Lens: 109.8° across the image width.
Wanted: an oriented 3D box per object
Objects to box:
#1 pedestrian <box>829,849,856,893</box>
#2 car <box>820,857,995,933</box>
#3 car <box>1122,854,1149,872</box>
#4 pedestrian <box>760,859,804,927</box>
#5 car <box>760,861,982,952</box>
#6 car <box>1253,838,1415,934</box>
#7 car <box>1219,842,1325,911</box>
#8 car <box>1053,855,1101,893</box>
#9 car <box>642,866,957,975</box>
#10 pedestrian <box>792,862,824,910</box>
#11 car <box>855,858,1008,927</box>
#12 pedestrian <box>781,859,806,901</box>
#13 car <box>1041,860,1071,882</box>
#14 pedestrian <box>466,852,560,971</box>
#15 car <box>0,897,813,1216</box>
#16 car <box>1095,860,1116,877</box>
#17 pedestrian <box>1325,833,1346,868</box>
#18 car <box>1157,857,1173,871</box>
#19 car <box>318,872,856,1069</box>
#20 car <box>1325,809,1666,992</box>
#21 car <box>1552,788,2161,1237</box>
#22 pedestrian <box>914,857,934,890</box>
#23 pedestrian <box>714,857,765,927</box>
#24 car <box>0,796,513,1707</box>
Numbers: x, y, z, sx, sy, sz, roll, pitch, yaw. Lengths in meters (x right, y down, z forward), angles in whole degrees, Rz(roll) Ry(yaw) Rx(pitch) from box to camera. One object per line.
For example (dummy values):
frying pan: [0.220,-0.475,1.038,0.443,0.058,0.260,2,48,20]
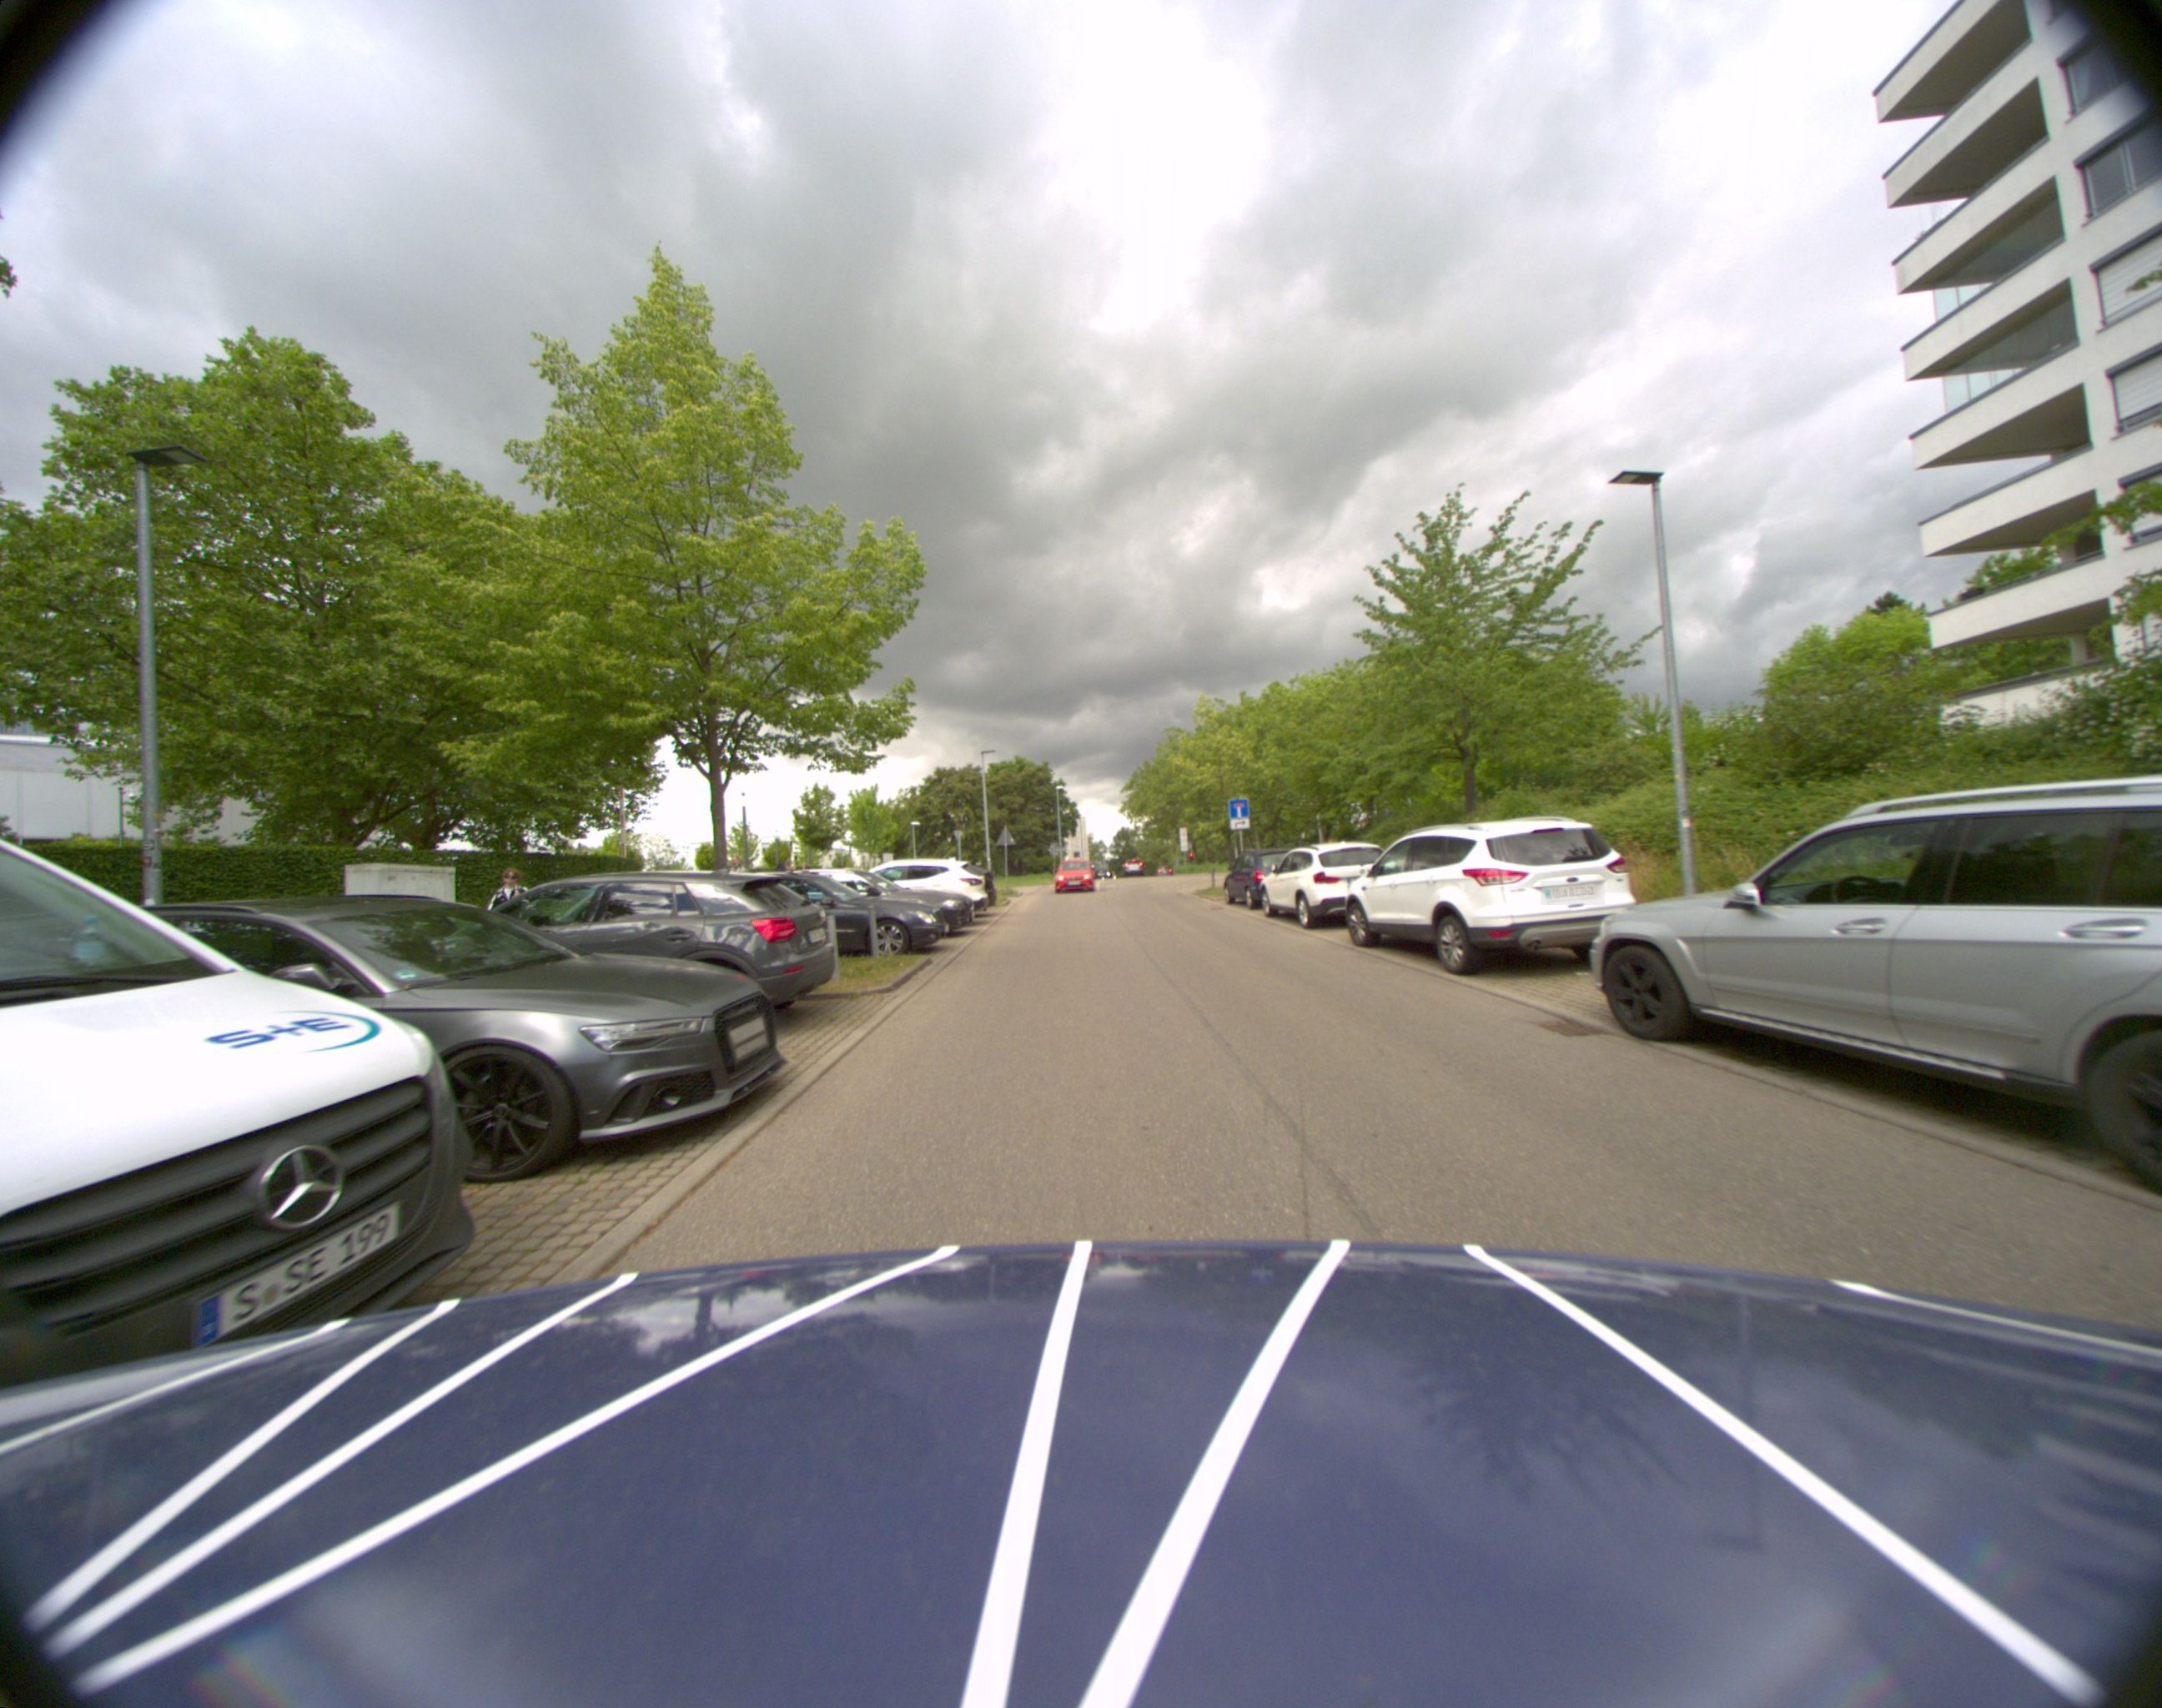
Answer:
pedestrian: [-8.214,0.594,26.201,0.620,1.460,0.736,-3,0,0]
car: [-4.049,0.939,18.149,3.679,1.637,1.852,-1,0,2]
car: [5.013,0.820,70.567,1.902,1.573,4.166,2,-1,-4]
pedestrian: [-8.163,1.043,20.793,0.741,1.782,0.878,-3,0,0]
car: [-4.201,1.027,15.726,3.997,1.510,1.883,-3,1,-1]
car: [4.863,0.575,15.286,1.694,1.502,4.230,-6,-1,0]
car: [4.906,0.550,20.088,1.694,1.478,3.953,-6,-1,0]
car: [-0.120,0.856,34.250,1.758,1.506,4.002,-3,-1,5]
car: [-4.555,1.050,12.915,4.587,1.483,1.951,-2,0,-3]
pedestrian: [-9.435,1.093,26.295,0.689,1.611,0.932,-3,0,-1]
car: [-3.913,0.997,20.319,3.679,1.565,1.593,-3,2,2]
pedestrian: [-11.917,1.074,31.503,0.655,1.701,0.706,-3,0,6]
car: [-1.847,1.286,57.493,1.758,1.506,4.002,-3,0,5]
pedestrian: [-9.055,0.892,12.142,0.741,1.782,0.878,-3,0,0]
car: [-3.925,1.022,4.678,3.831,1.363,1.844,-1,0,8]
car: [2.417,1.423,75.164,1.758,1.506,4.002,-3,0,5]
pedestrian: [12.080,-0.175,36.113,0.633,1.601,0.720,-4,-2,-2]
car: [10.255,1.222,92.877,1.758,1.506,4.002,-3,-1,5]
car: [-4.363,0.988,7.254,3.834,1.511,1.911,-1,0,-1]
car: [4.867,0.488,9.830,1.812,1.654,4.437,-6,-1,0]
car: [4.841,0.548,3.991,1.804,1.606,4.478,-6,-1,0]
pedestrian: [-8.348,1.053,40.373,0.764,1.712,0.885,-3,0,-29]
pedestrian: [-9.080,1.004,20.233,0.833,1.782,0.878,-3,0,0]
car: [-4.440,0.845,1.779,4.786,1.821,1.843,-1,0,0]
